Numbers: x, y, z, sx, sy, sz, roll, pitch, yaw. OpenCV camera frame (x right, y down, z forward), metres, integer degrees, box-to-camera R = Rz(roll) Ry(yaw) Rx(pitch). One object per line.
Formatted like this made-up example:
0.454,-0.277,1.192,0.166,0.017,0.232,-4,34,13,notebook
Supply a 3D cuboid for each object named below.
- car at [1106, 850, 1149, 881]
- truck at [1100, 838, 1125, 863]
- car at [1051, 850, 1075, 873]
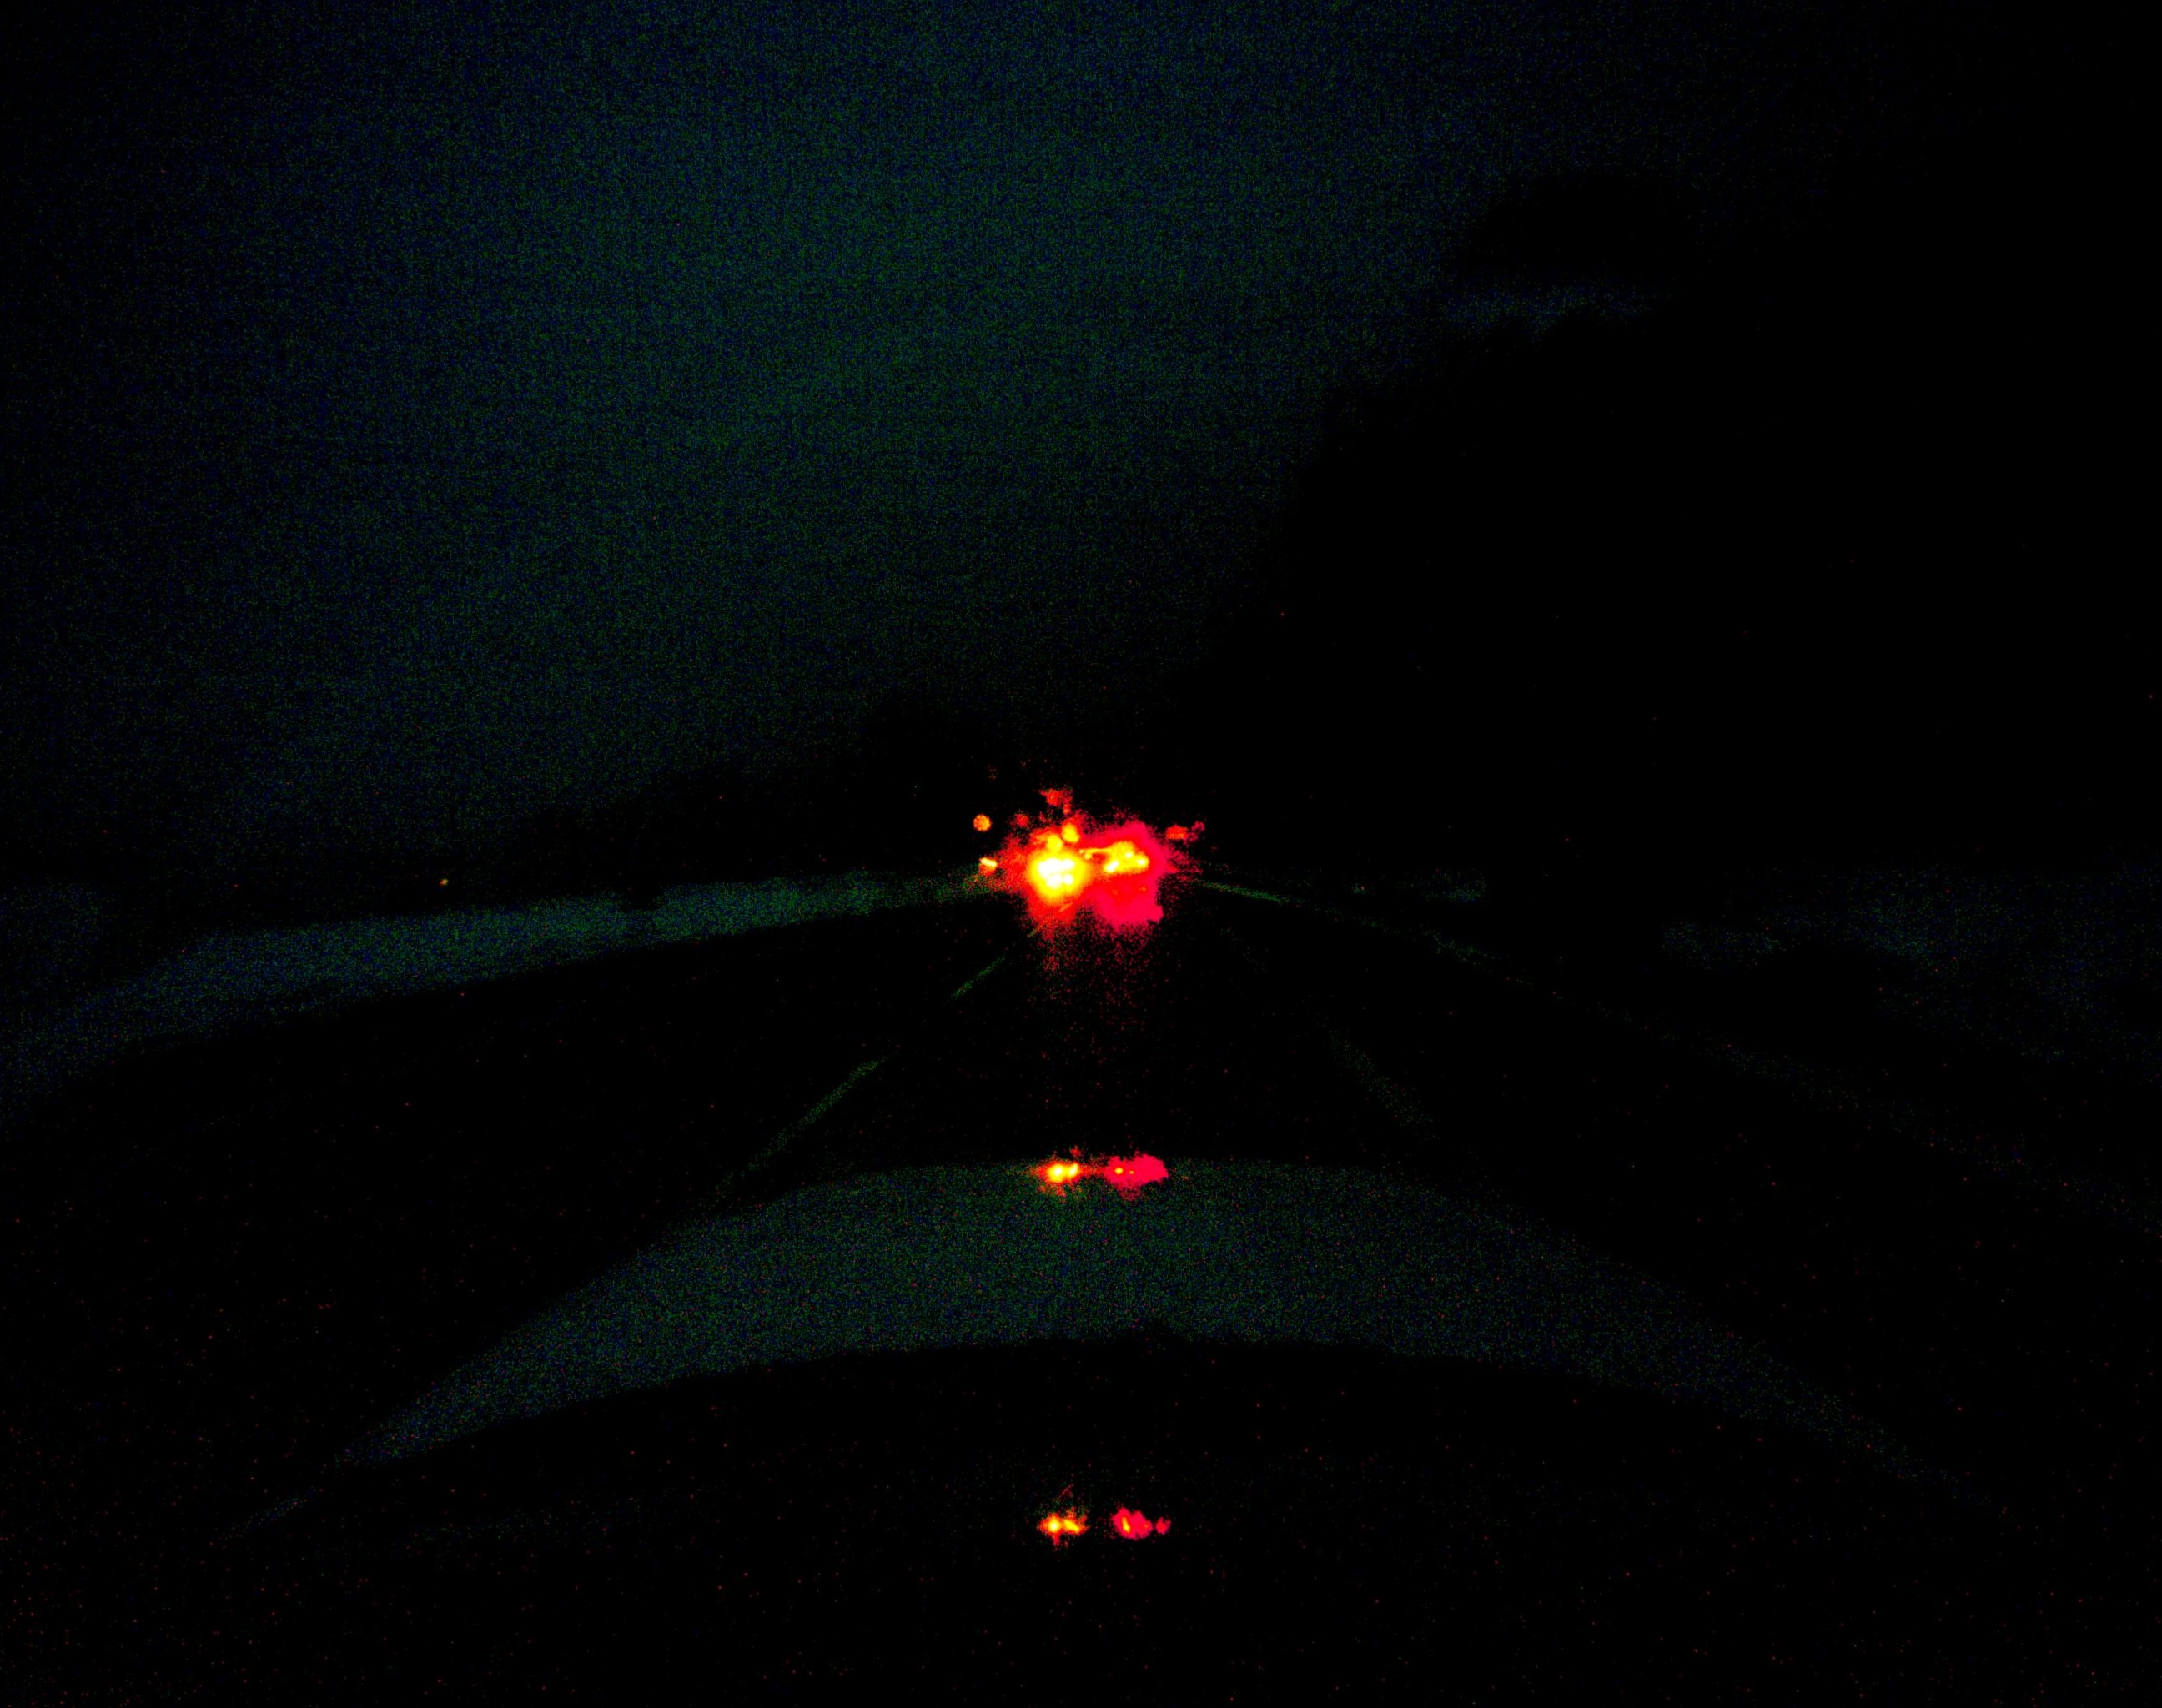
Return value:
2.239,0.546,40.500,1.915,1.276,4.001,-3,1,1,car
3.629,-0.398,95.104,2.073,2.745,5.308,-2,0,-6,truck
-1.468,0.592,65.768,1.747,1.693,4.422,-4,0,-2,car
